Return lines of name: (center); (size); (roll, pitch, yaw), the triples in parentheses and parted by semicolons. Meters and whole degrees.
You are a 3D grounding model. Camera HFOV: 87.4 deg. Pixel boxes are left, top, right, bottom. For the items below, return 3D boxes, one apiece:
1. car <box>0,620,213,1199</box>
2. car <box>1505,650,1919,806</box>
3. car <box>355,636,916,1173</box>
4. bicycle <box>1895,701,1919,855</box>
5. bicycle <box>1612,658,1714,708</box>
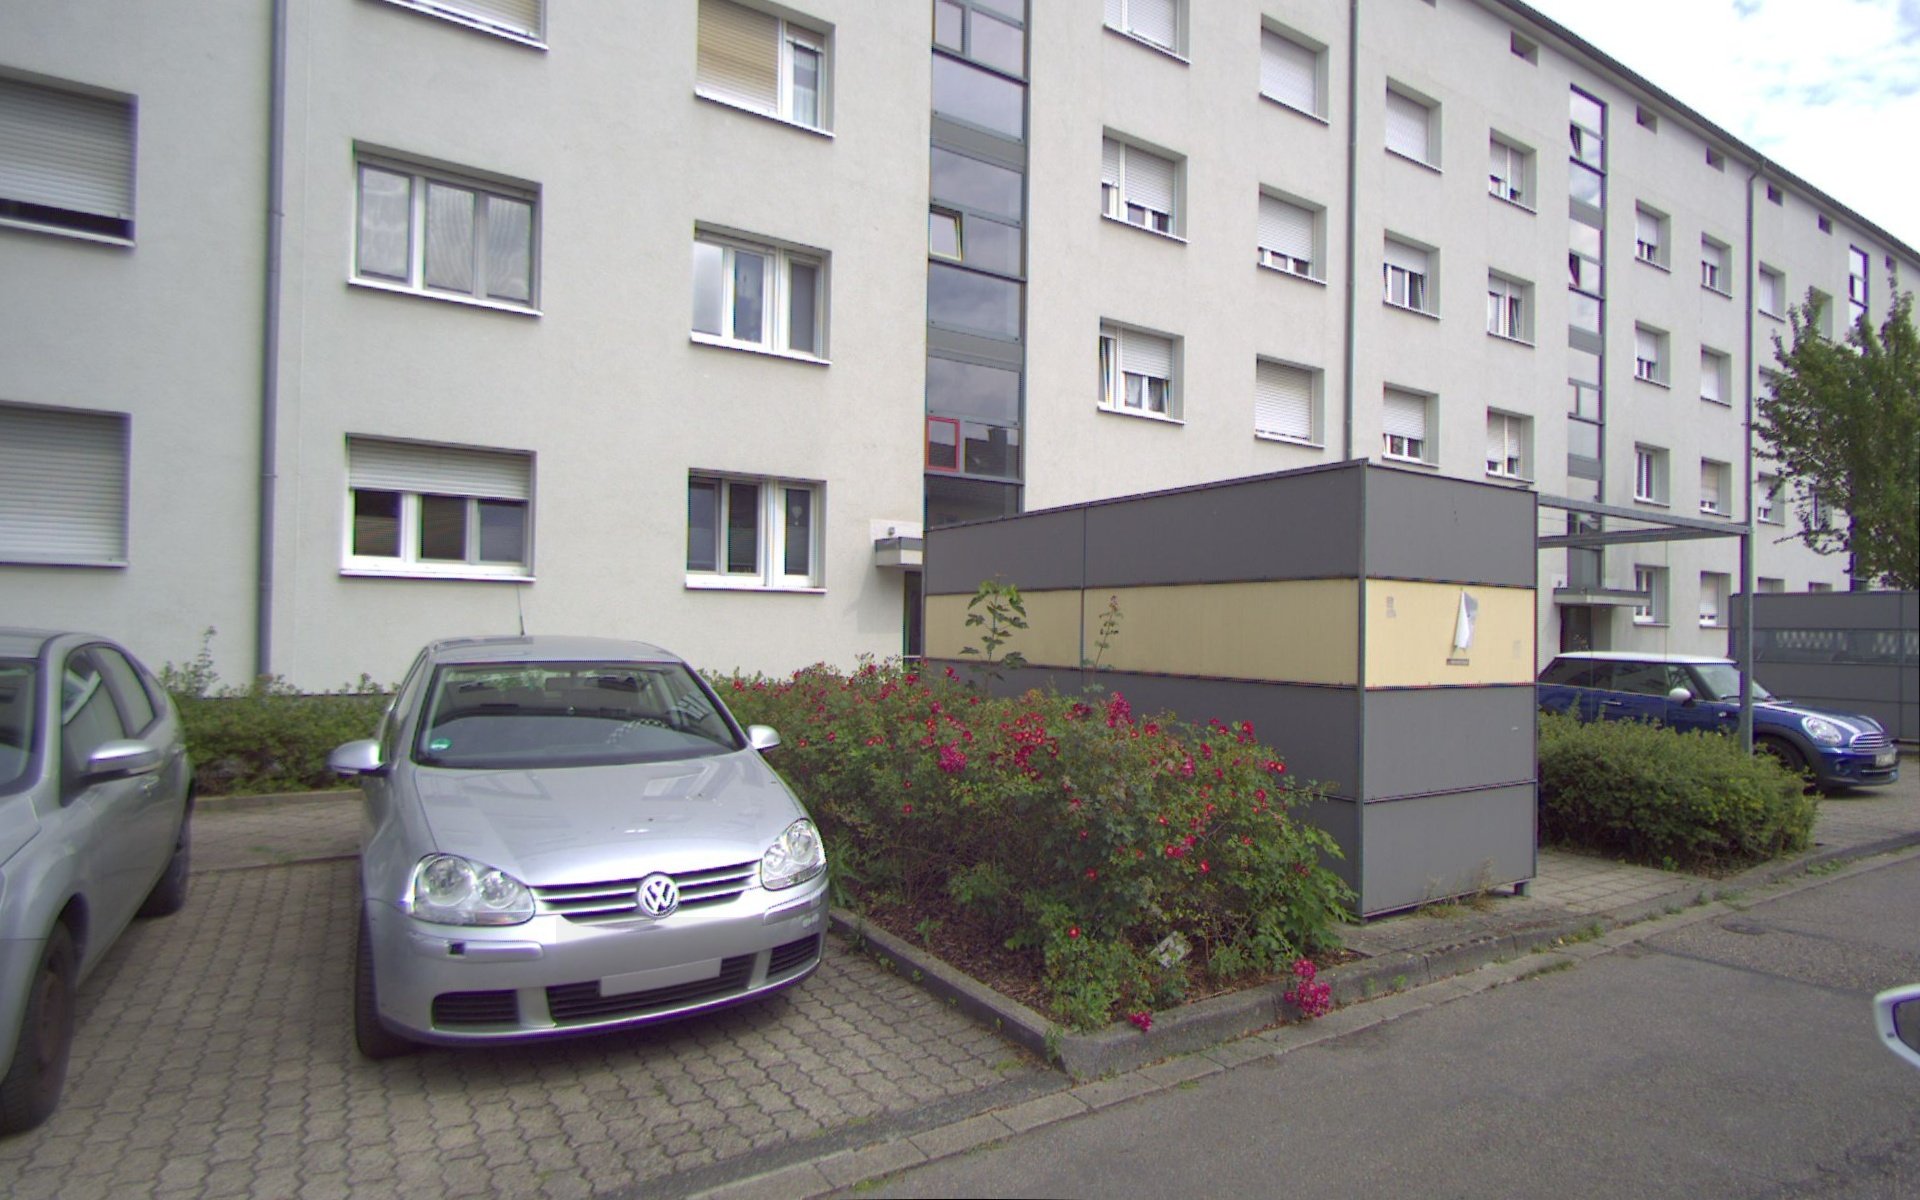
car: (-4.071, 0.848, 3.645); (1.762, 1.525, 4.031); (2, -3, -31)
car: (8.605, 1.348, 11.778); (1.632, 1.480, 3.621); (2, -3, -28)
car: (-1.957, 0.934, 4.993); (1.762, 1.483, 4.031); (2, -3, -31)
bicycle: (7.878, 1.310, 7.608); (2.019, 1.090, 0.594); (2, -3, -31)
bicycle: (15.537, 1.820, 22.241); (1.775, 1.038, 0.479); (0, -1, 18)
